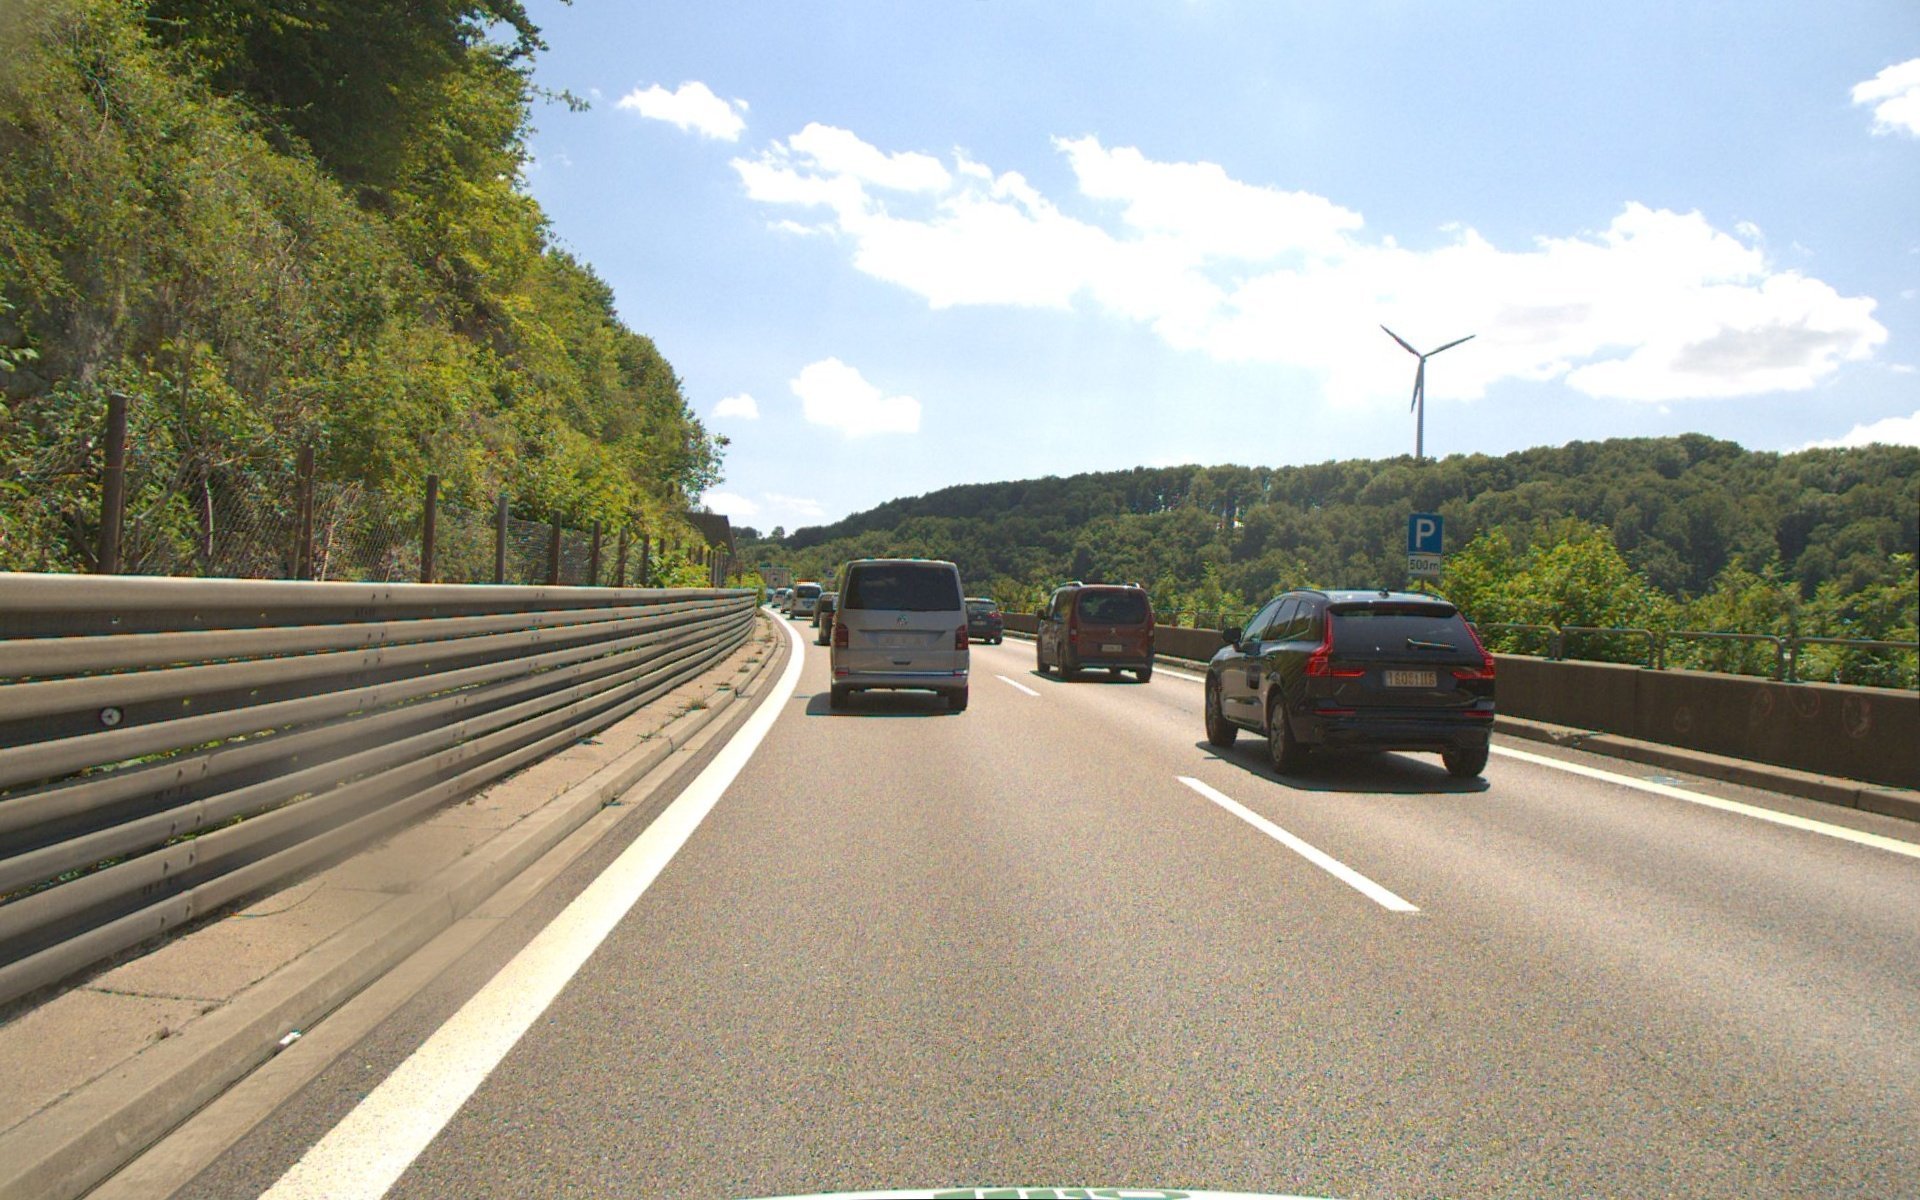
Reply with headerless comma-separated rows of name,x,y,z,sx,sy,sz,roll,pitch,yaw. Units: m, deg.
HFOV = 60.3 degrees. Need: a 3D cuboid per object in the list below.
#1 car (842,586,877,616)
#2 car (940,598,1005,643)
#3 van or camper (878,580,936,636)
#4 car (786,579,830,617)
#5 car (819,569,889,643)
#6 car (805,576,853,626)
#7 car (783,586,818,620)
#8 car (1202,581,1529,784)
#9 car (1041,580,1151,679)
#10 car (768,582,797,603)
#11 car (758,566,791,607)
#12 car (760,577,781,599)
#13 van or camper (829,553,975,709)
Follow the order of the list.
car,-6.951,0.052,113.646,1.957,2.049,3.990,1,0,-10
car,0.383,0.655,54.711,1.734,1.400,3.588,1,0,-6
van or camper,-2.613,0.368,80.433,2.222,2.596,4.726,1,0,-9
car,-7.891,-0.117,85.640,1.957,1.849,3.992,2,0,-9
car,-3.135,0.171,48.759,1.954,2.049,3.996,1,0,-4
car,-5.547,0.051,69.921,1.954,2.049,3.996,1,0,-5
car,-9.773,0.184,101.251,1.956,1.948,3.994,2,0,-7
car,3.684,0.678,15.948,1.798,1.662,4.659,1,0,-3
car,2.643,0.563,33.130,1.796,1.815,4.675,1,0,0
car,-14.265,-0.596,132.541,2.103,1.635,5.069,2,0,-8
car,-23.568,-1.677,210.600,3.965,4.957,10.097,1,0,-6
car,-18.225,-1.134,158.940,1.956,2.049,3.994,1,0,-7
van or camper,-0.891,0.415,23.285,1.839,1.984,4.290,1,0,-4
